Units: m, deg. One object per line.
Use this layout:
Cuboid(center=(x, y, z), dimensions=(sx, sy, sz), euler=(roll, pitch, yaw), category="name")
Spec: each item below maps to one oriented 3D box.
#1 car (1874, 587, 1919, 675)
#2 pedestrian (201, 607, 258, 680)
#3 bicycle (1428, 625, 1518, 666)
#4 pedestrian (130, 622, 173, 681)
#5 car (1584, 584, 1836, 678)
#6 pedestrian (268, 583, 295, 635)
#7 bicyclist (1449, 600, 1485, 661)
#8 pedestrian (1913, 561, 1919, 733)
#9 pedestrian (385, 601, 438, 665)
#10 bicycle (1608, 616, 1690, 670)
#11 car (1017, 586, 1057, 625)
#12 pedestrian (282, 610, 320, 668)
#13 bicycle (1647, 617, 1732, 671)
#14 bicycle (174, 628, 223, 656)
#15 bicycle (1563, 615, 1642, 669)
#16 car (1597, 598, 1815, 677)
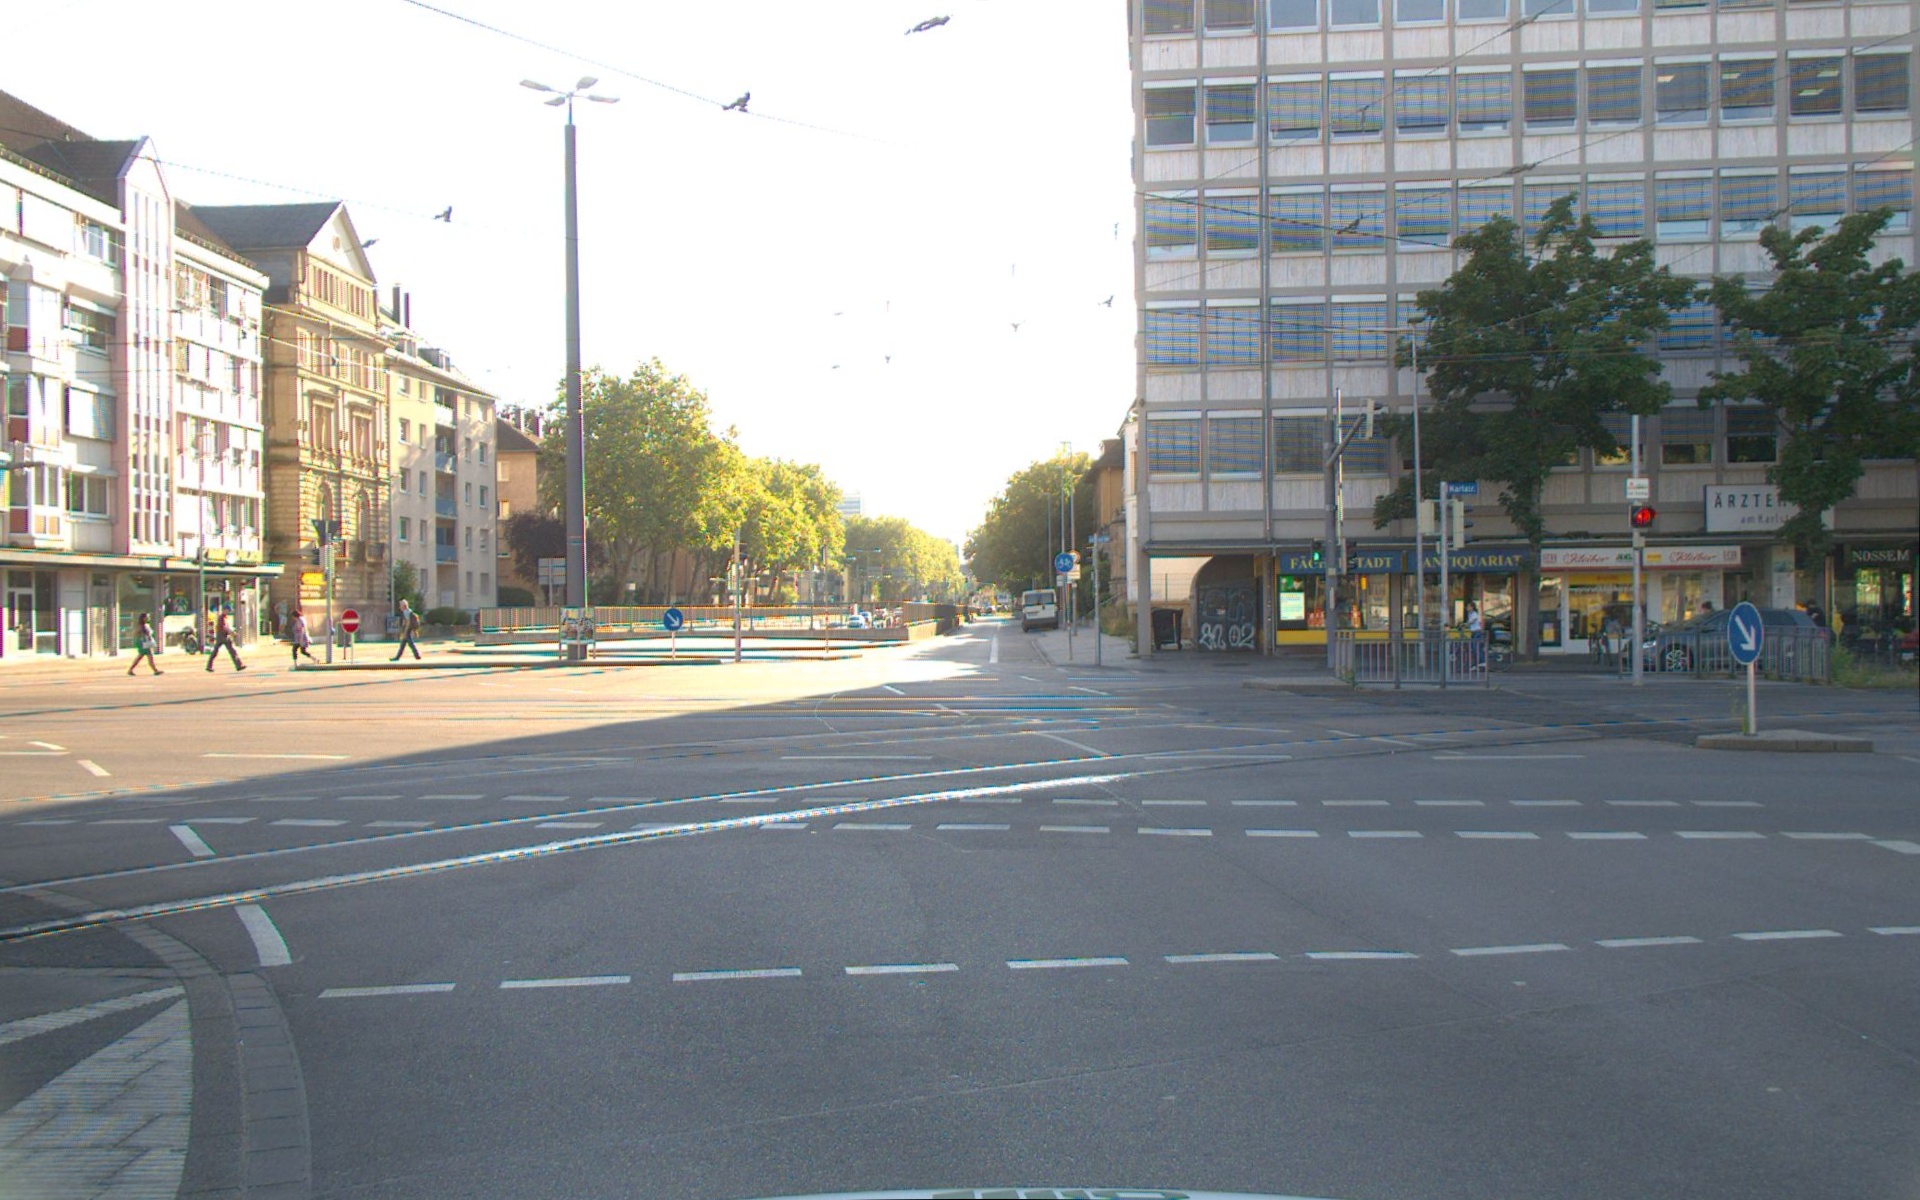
Cuboid(center=(19.993, 0.617, 31.706), dimensions=(3.902, 1.646, 1.845), euler=(1, -1, 6), category="car")
Cuboid(center=(-19.841, 1.174, 44.945), dimensions=(1.171, 1.916, 0.856), euler=(1, 2, -4), category="pedestrian")
Cuboid(center=(12.429, 1.093, 40.096), dimensions=(1.983, 0.957, 0.671), euler=(1, -1, 0), category="bicycle")
Cuboid(center=(-20.806, 1.324, 42.578), dimensions=(0.691, 1.479, 0.856), euler=(1, -1, -3), category="pedestrian")
Cuboid(center=(13.930, 0.566, 30.912), dimensions=(3.902, 1.646, 1.845), euler=(1, -1, 6), category="car")
Cuboid(center=(-32.047, 0.441, 78.136), dimensions=(0.909, 2.440, 0.958), euler=(1, -1, -10), category="pedestrian")
Cuboid(center=(12.290, 0.735, 40.106), dimensions=(0.665, 1.449, 0.671), euler=(1, -1, 0), category="bicyclist")
Cuboid(center=(10.125, 0.475, 16.358), dimensions=(0.690, 1.712, 1.028), euler=(1, -1, -37), category="pedestrian")
Cuboid(center=(-15.369, 0.914, 46.365), dimensions=(1.171, 1.761, 0.856), euler=(1, -1, -4), category="pedestrian")
Cuboid(center=(17.118, 1.056, 41.162), dimensions=(0.734, 1.163, 2.639), euler=(1, 2, -5), category="bicycle")
Cuboid(center=(4.465, 0.335, 95.903), dimensions=(2.238, 2.210, 4.835), euler=(1, 0, 3), category="car")
Cuboid(center=(-17.450, 1.043, 43.789), dimensions=(0.844, 1.491, 0.680), euler=(1, -6, -28), category="pedestrian")
Cuboid(center=(18.134, 1.071, 41.203), dimensions=(0.734, 1.163, 2.639), euler=(1, 2, -5), category="bicycle")
Cuboid(center=(-30.380, 1.665, 66.001), dimensions=(0.441, 1.089, 2.093), euler=(1, -1, 18), category="bicycle")
Cuboid(center=(15.946, 1.030, 41.133), dimensions=(0.734, 1.163, 2.639), euler=(1, 2, -5), category="bicycle")
Cuboid(center=(16.352, 0.811, 36.413), dimensions=(3.981, 1.646, 1.845), euler=(1, -1, 6), category="car")
